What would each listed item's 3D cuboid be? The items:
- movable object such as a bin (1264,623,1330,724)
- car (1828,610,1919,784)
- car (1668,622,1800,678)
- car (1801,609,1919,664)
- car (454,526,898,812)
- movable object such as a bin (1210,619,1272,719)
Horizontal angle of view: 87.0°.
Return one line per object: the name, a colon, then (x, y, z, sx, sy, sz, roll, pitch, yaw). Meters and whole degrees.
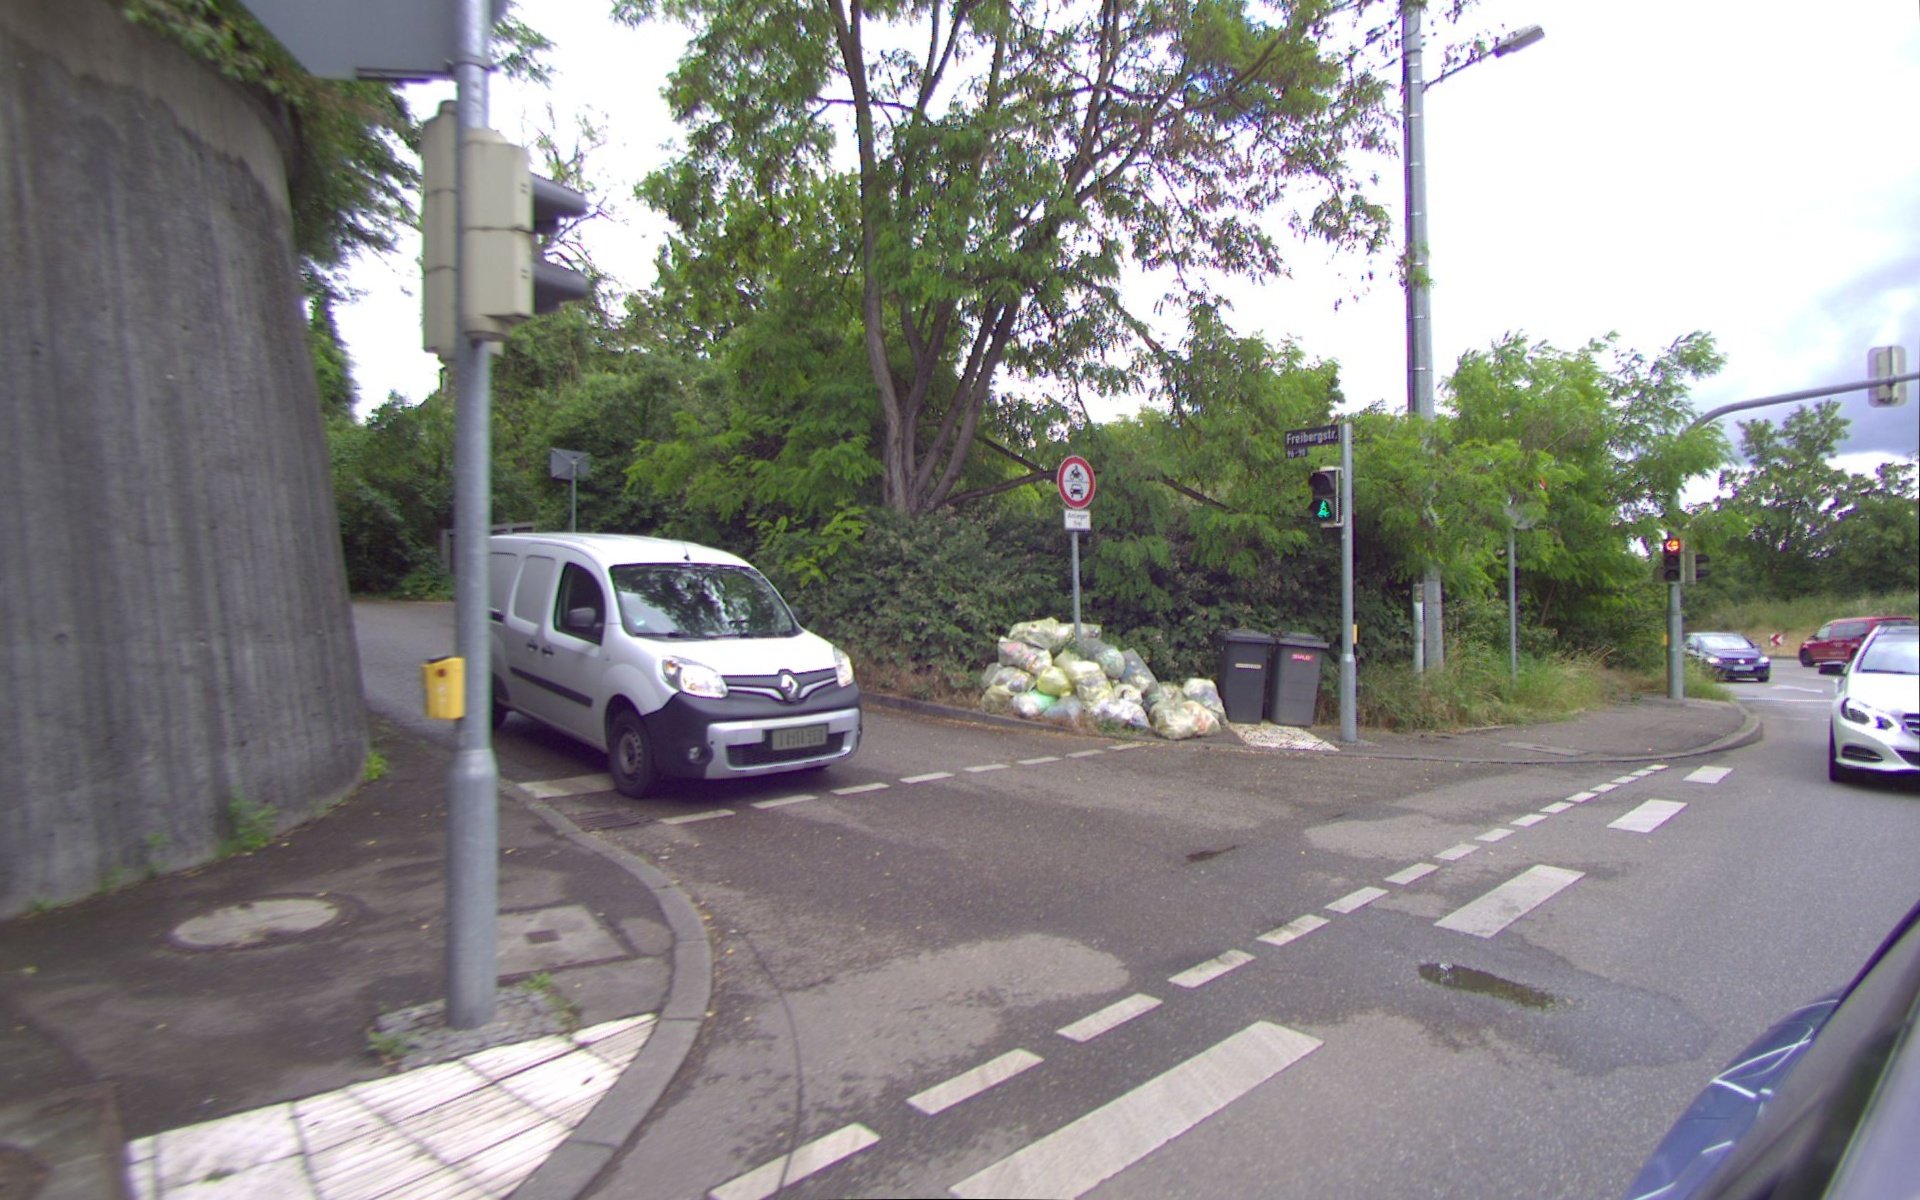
movable object such as a bin: (3.906, 0.832, 11.767, 0.565, 1.130, 0.643, 0, -1, 4)
car: (9.686, 0.825, 9.484, 3.931, 1.440, 1.885, 1, -1, -42)
car: (24.123, 1.511, 31.705, 1.795, 1.564, 3.712, 0, -1, 11)
car: (32.802, 1.255, 36.548, 1.667, 1.849, 4.708, 0, 0, 12)
car: (-2.654, 0.300, 8.621, 1.796, 1.806, 4.487, -1, 4, -43)
movable object such as a bin: (3.260, 0.783, 11.795, 0.565, 1.130, 0.643, 0, -1, 4)
